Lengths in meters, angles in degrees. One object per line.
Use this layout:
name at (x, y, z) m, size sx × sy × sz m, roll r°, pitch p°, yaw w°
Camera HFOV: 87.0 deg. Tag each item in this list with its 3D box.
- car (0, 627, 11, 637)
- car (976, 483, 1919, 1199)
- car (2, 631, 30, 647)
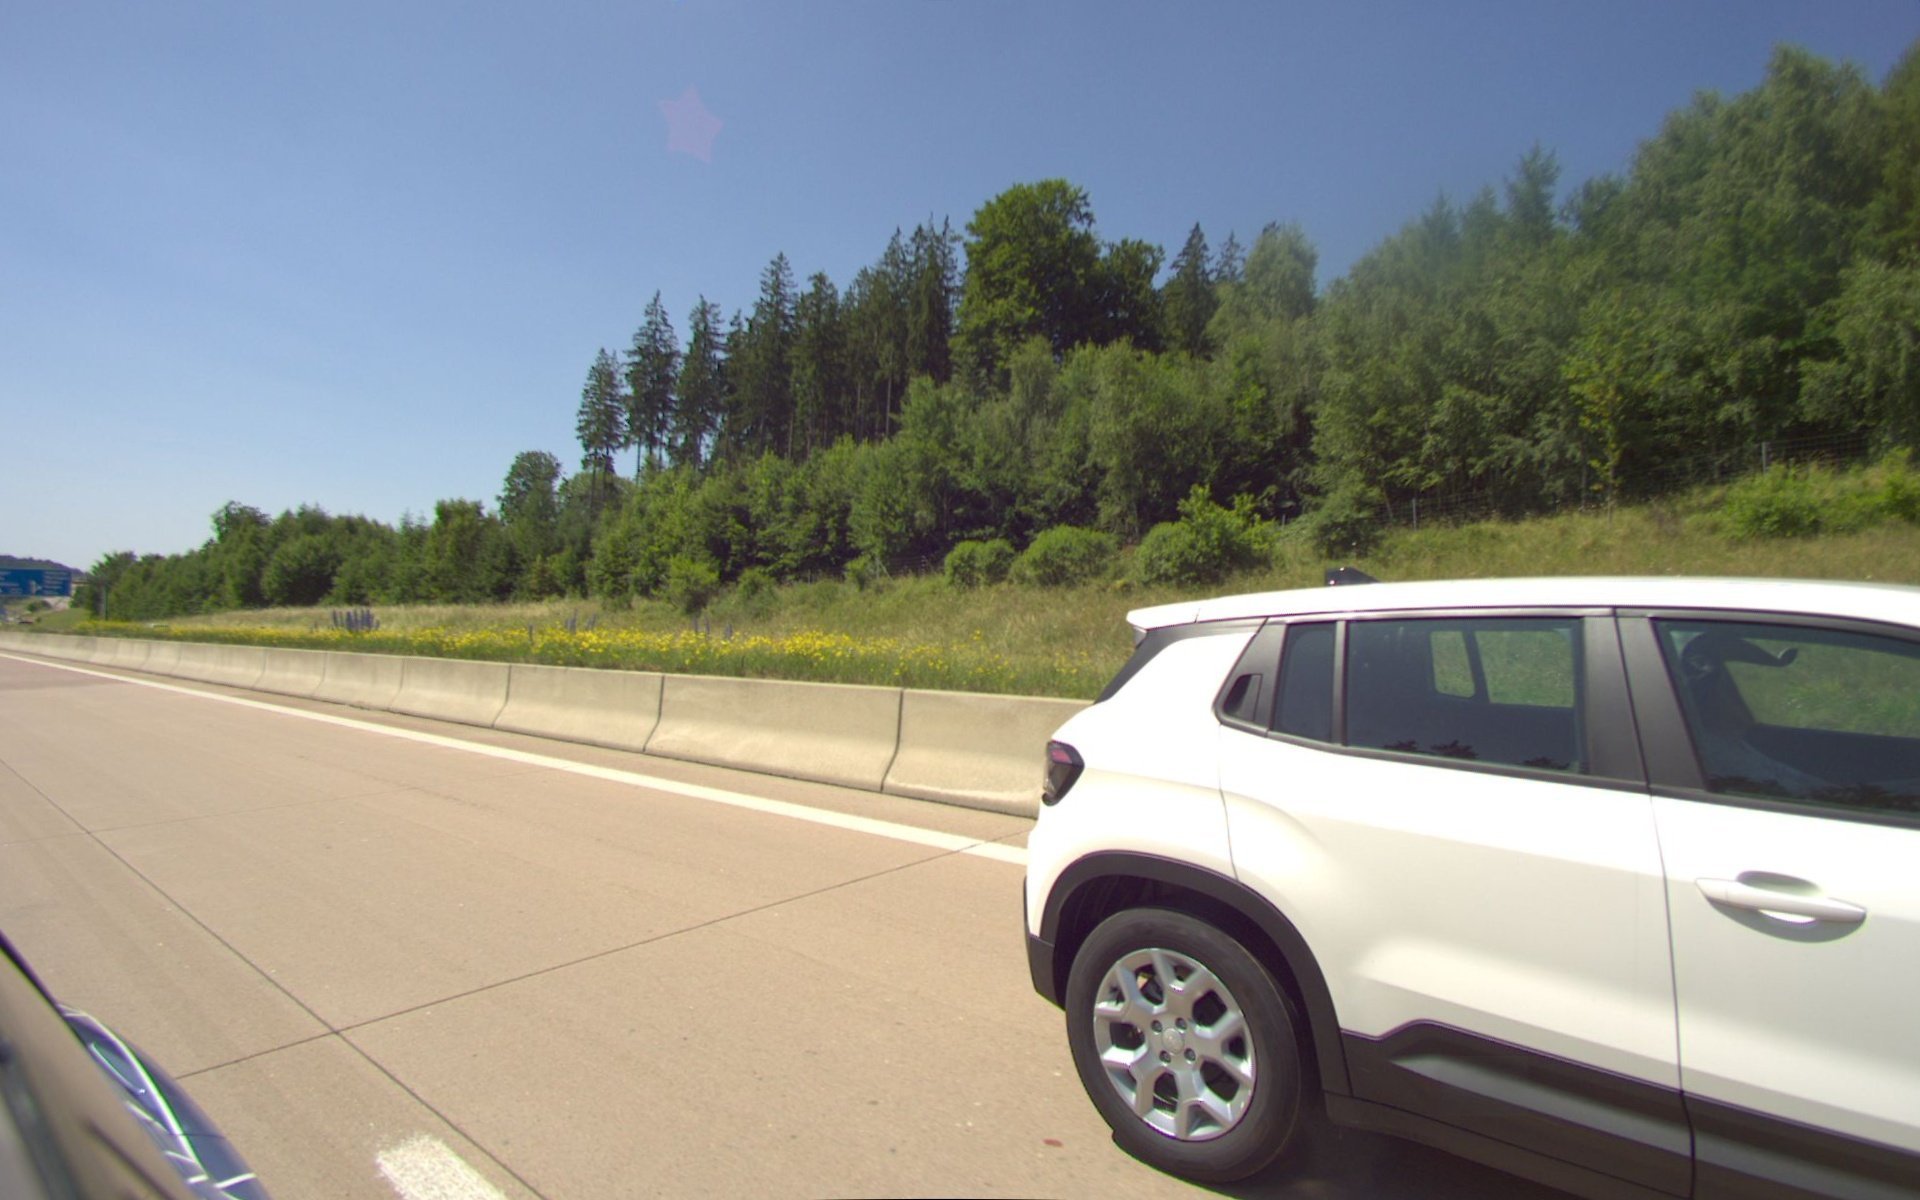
car at (-157.507, 5.302, 166.362) m, size 4.462 × 1.606 × 1.871 m, roll -2°, pitch -1°, yaw 42°
car at (2.471, 0.623, 1.964) m, size 4.831 × 1.619 × 1.859 m, roll -1°, pitch -1°, yaw 41°
car at (-110.126, 4.535, 118.062) m, size 4.460 × 1.752 × 1.872 m, roll -2°, pitch -1°, yaw 40°
